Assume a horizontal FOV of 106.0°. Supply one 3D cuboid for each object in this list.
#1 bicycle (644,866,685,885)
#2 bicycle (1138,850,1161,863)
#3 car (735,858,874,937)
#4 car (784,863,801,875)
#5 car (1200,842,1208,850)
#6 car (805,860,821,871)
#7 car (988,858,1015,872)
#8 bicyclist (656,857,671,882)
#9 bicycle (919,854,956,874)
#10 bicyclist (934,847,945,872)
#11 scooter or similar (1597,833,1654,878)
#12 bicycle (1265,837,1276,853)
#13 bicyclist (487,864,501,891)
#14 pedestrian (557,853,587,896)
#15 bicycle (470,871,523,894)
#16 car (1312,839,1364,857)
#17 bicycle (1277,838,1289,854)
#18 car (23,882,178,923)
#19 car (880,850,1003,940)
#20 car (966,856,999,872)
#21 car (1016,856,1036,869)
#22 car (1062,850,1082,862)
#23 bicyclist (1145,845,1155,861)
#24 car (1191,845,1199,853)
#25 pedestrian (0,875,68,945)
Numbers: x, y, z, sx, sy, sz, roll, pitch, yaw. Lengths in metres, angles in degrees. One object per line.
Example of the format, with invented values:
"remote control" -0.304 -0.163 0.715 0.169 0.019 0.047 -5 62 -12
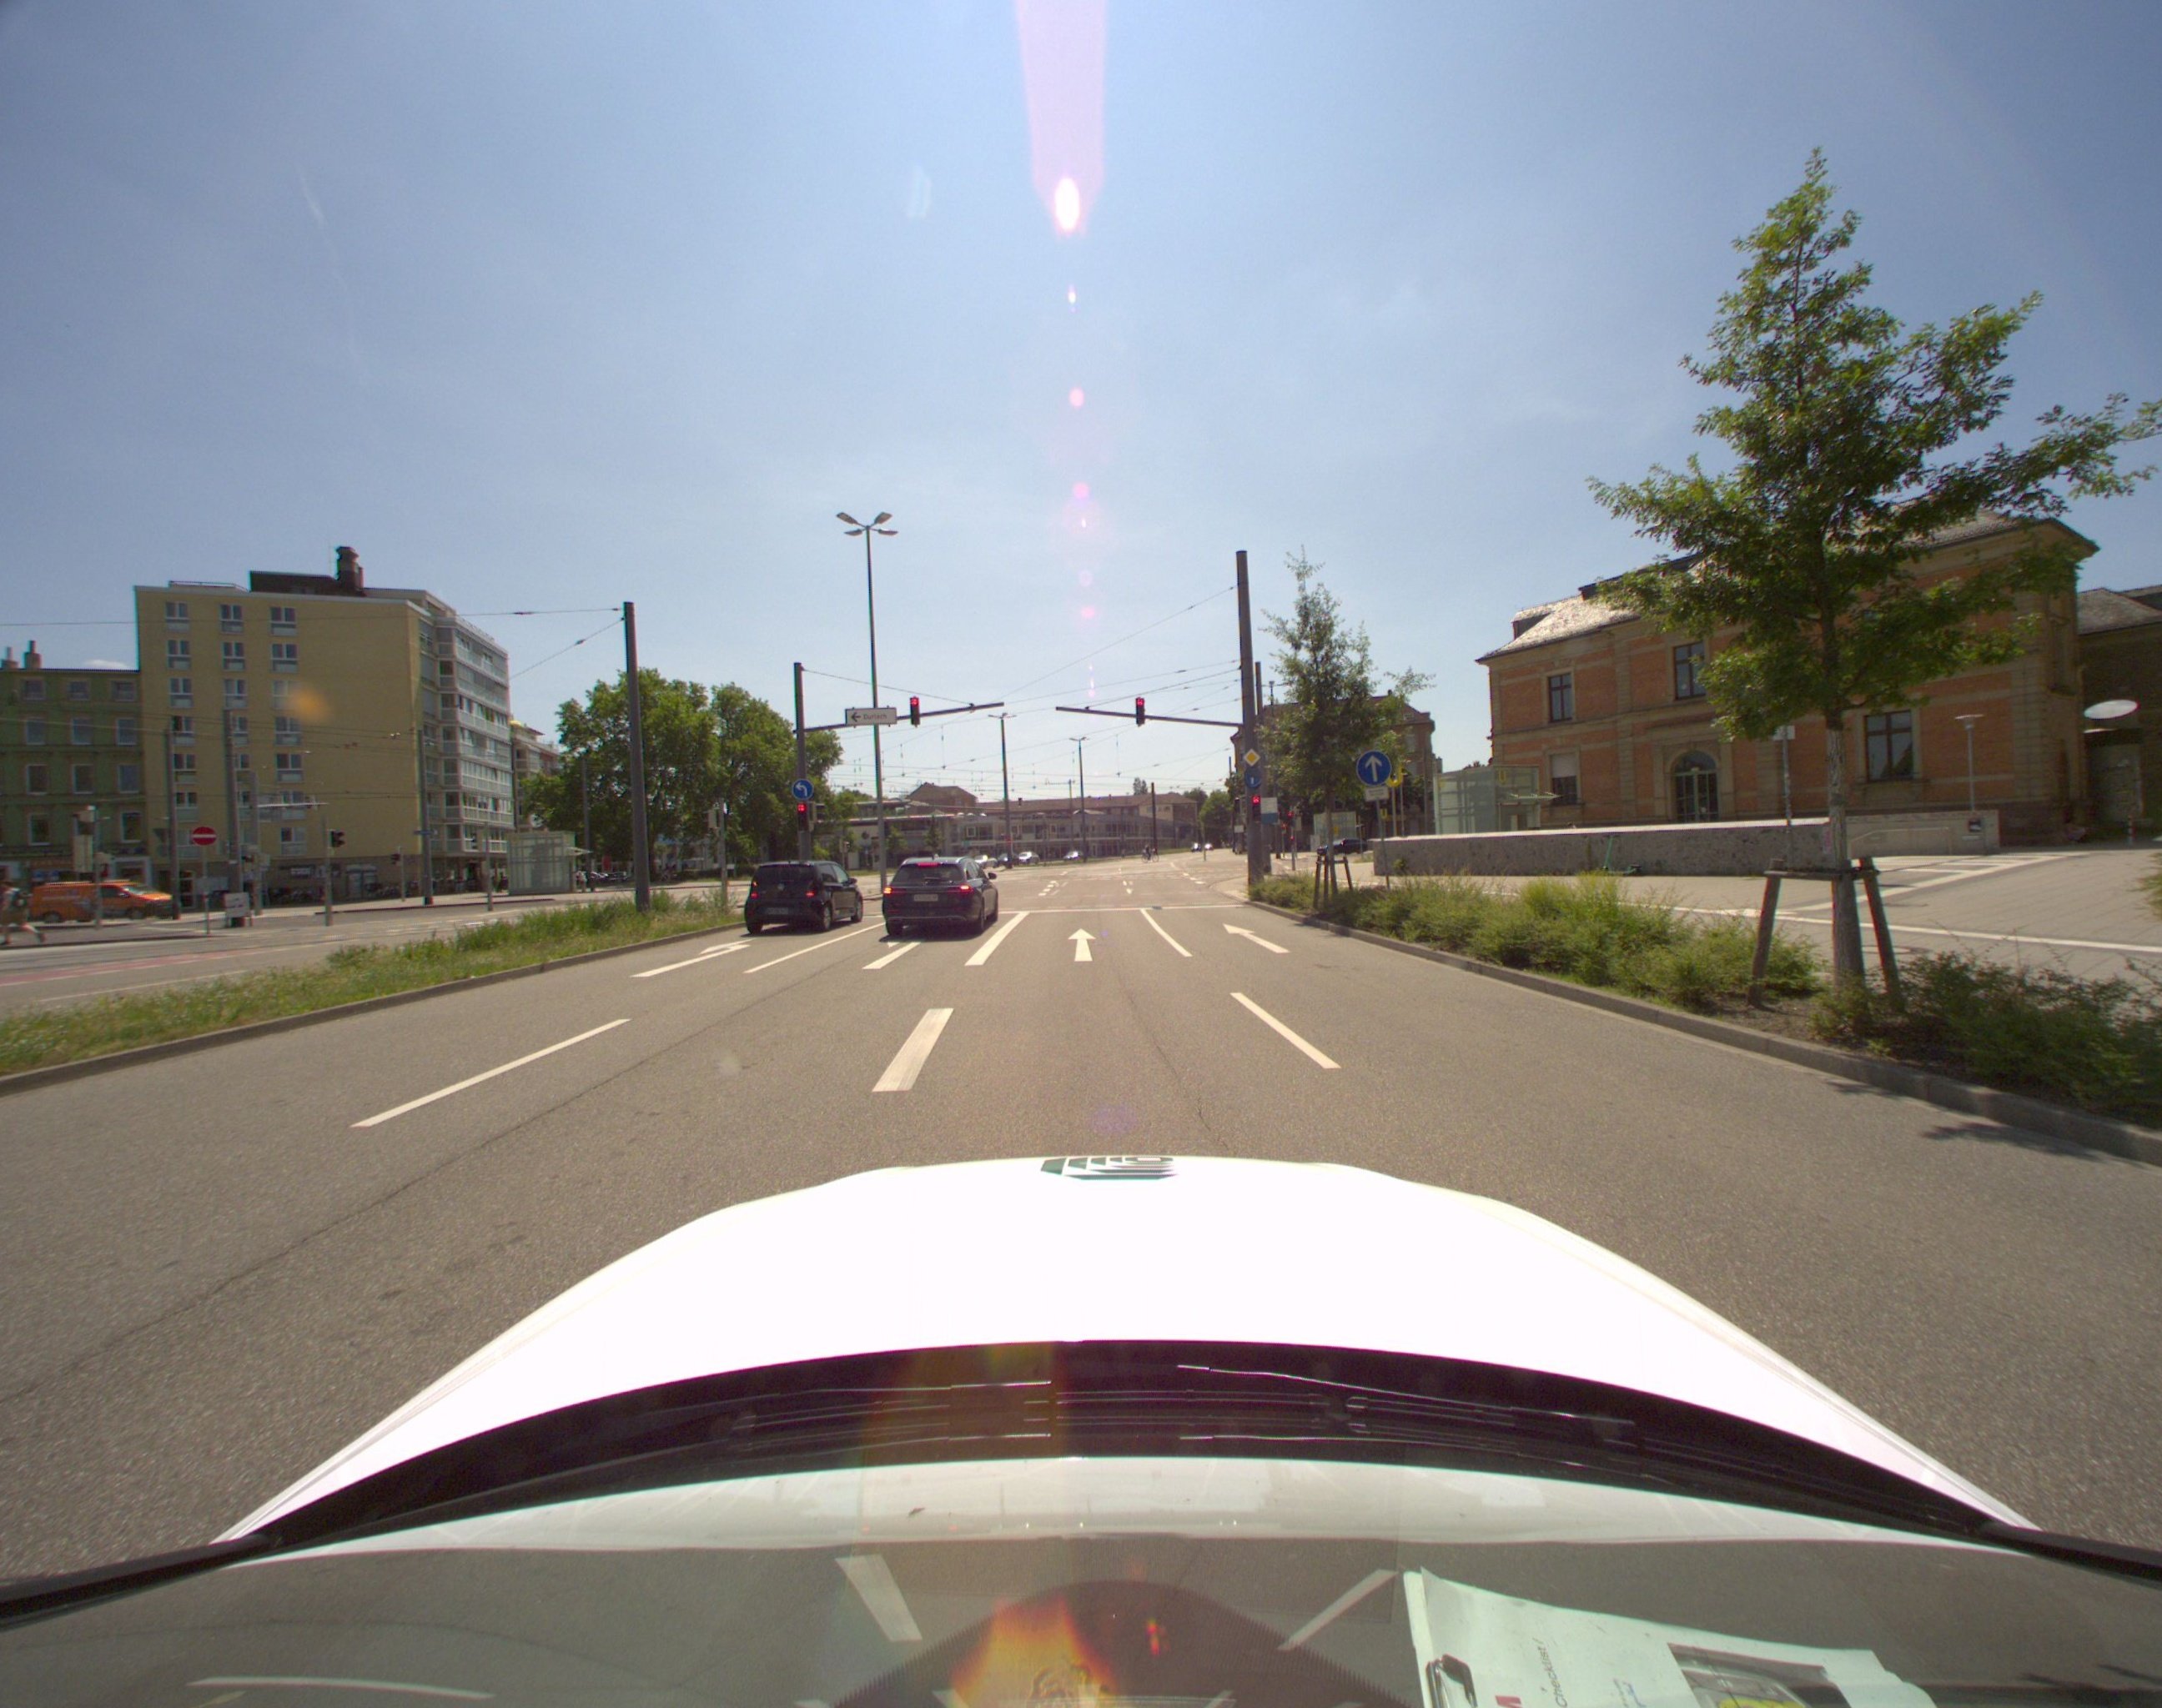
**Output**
"bicycle" -33.199 1.683 64.995 2.772 1.385 0.669 -2 2 -8
"bicycle" 6.653 0.219 78.720 2.166 1.107 0.454 -2 2 -18
"car" -5.922 0.862 17.944 1.616 1.463 4.000 -2 0 0
"car" -41.689 2.115 117.864 1.423 1.508 3.432 -2 2 -6
"car" 27.709 -1.763 183.113 1.577 1.528 3.723 -1 2 7
"car" -38.795 1.664 117.973 1.508 1.418 3.415 -2 2 -6
"car" -8.459 1.172 86.988 1.526 1.278 3.555 -1 2 17
"bicyclist" -33.306 1.208 64.952 0.845 1.965 0.625 -2 2 -8
"bicycle" -11.479 0.811 65.227 2.818 1.463 0.633 -2 2 -2
"bicyclist" -11.321 0.431 65.236 0.761 1.937 0.660 -2 2 -2
"scooter or similar" 14.623 0.018 21.891 0.398 1.167 1.280 -2 2 -22
"bicycle" 22.477 -1.033 96.599 0.610 1.788 3.182 -2 2 1
"bicyclist" -48.042 1.913 66.641 0.767 2.105 0.743 0 2 42
"pedestrian" -36.126 1.437 57.808 1.211 2.937 1.335 -2 2 -3
"bicycle" -47.894 2.326 66.801 0.808 1.595 3.344 0 4 43
"car" 22.405 -0.552 71.033 4.114 1.450 1.687 -2 2 -19
"bicycle" 23.907 -0.995 96.526 0.610 1.788 3.182 -2 2 1
"car" -47.905 2.347 39.908 4.631 1.613 1.667 -2 2 -15
"car" -2.731 0.742 16.940 1.711 1.556 4.586 -2 0 0
"car" -9.734 0.963 80.910 1.607 1.390 4.143 -2 0 17
"car" -6.233 0.998 92.998 1.422 1.285 3.273 -1 2 13
"car" -1.174 0.224 108.290 1.558 1.427 3.630 -1 2 17
"bicyclist" 6.646 -0.080 78.718 0.734 1.479 0.652 -2 2 -19
"car" 22.344 -0.939 159.273 1.522 1.458 3.561 -1 2 8
"pedestrian" -30.959 1.625 23.889 1.182 1.933 0.897 -2 2 -17
